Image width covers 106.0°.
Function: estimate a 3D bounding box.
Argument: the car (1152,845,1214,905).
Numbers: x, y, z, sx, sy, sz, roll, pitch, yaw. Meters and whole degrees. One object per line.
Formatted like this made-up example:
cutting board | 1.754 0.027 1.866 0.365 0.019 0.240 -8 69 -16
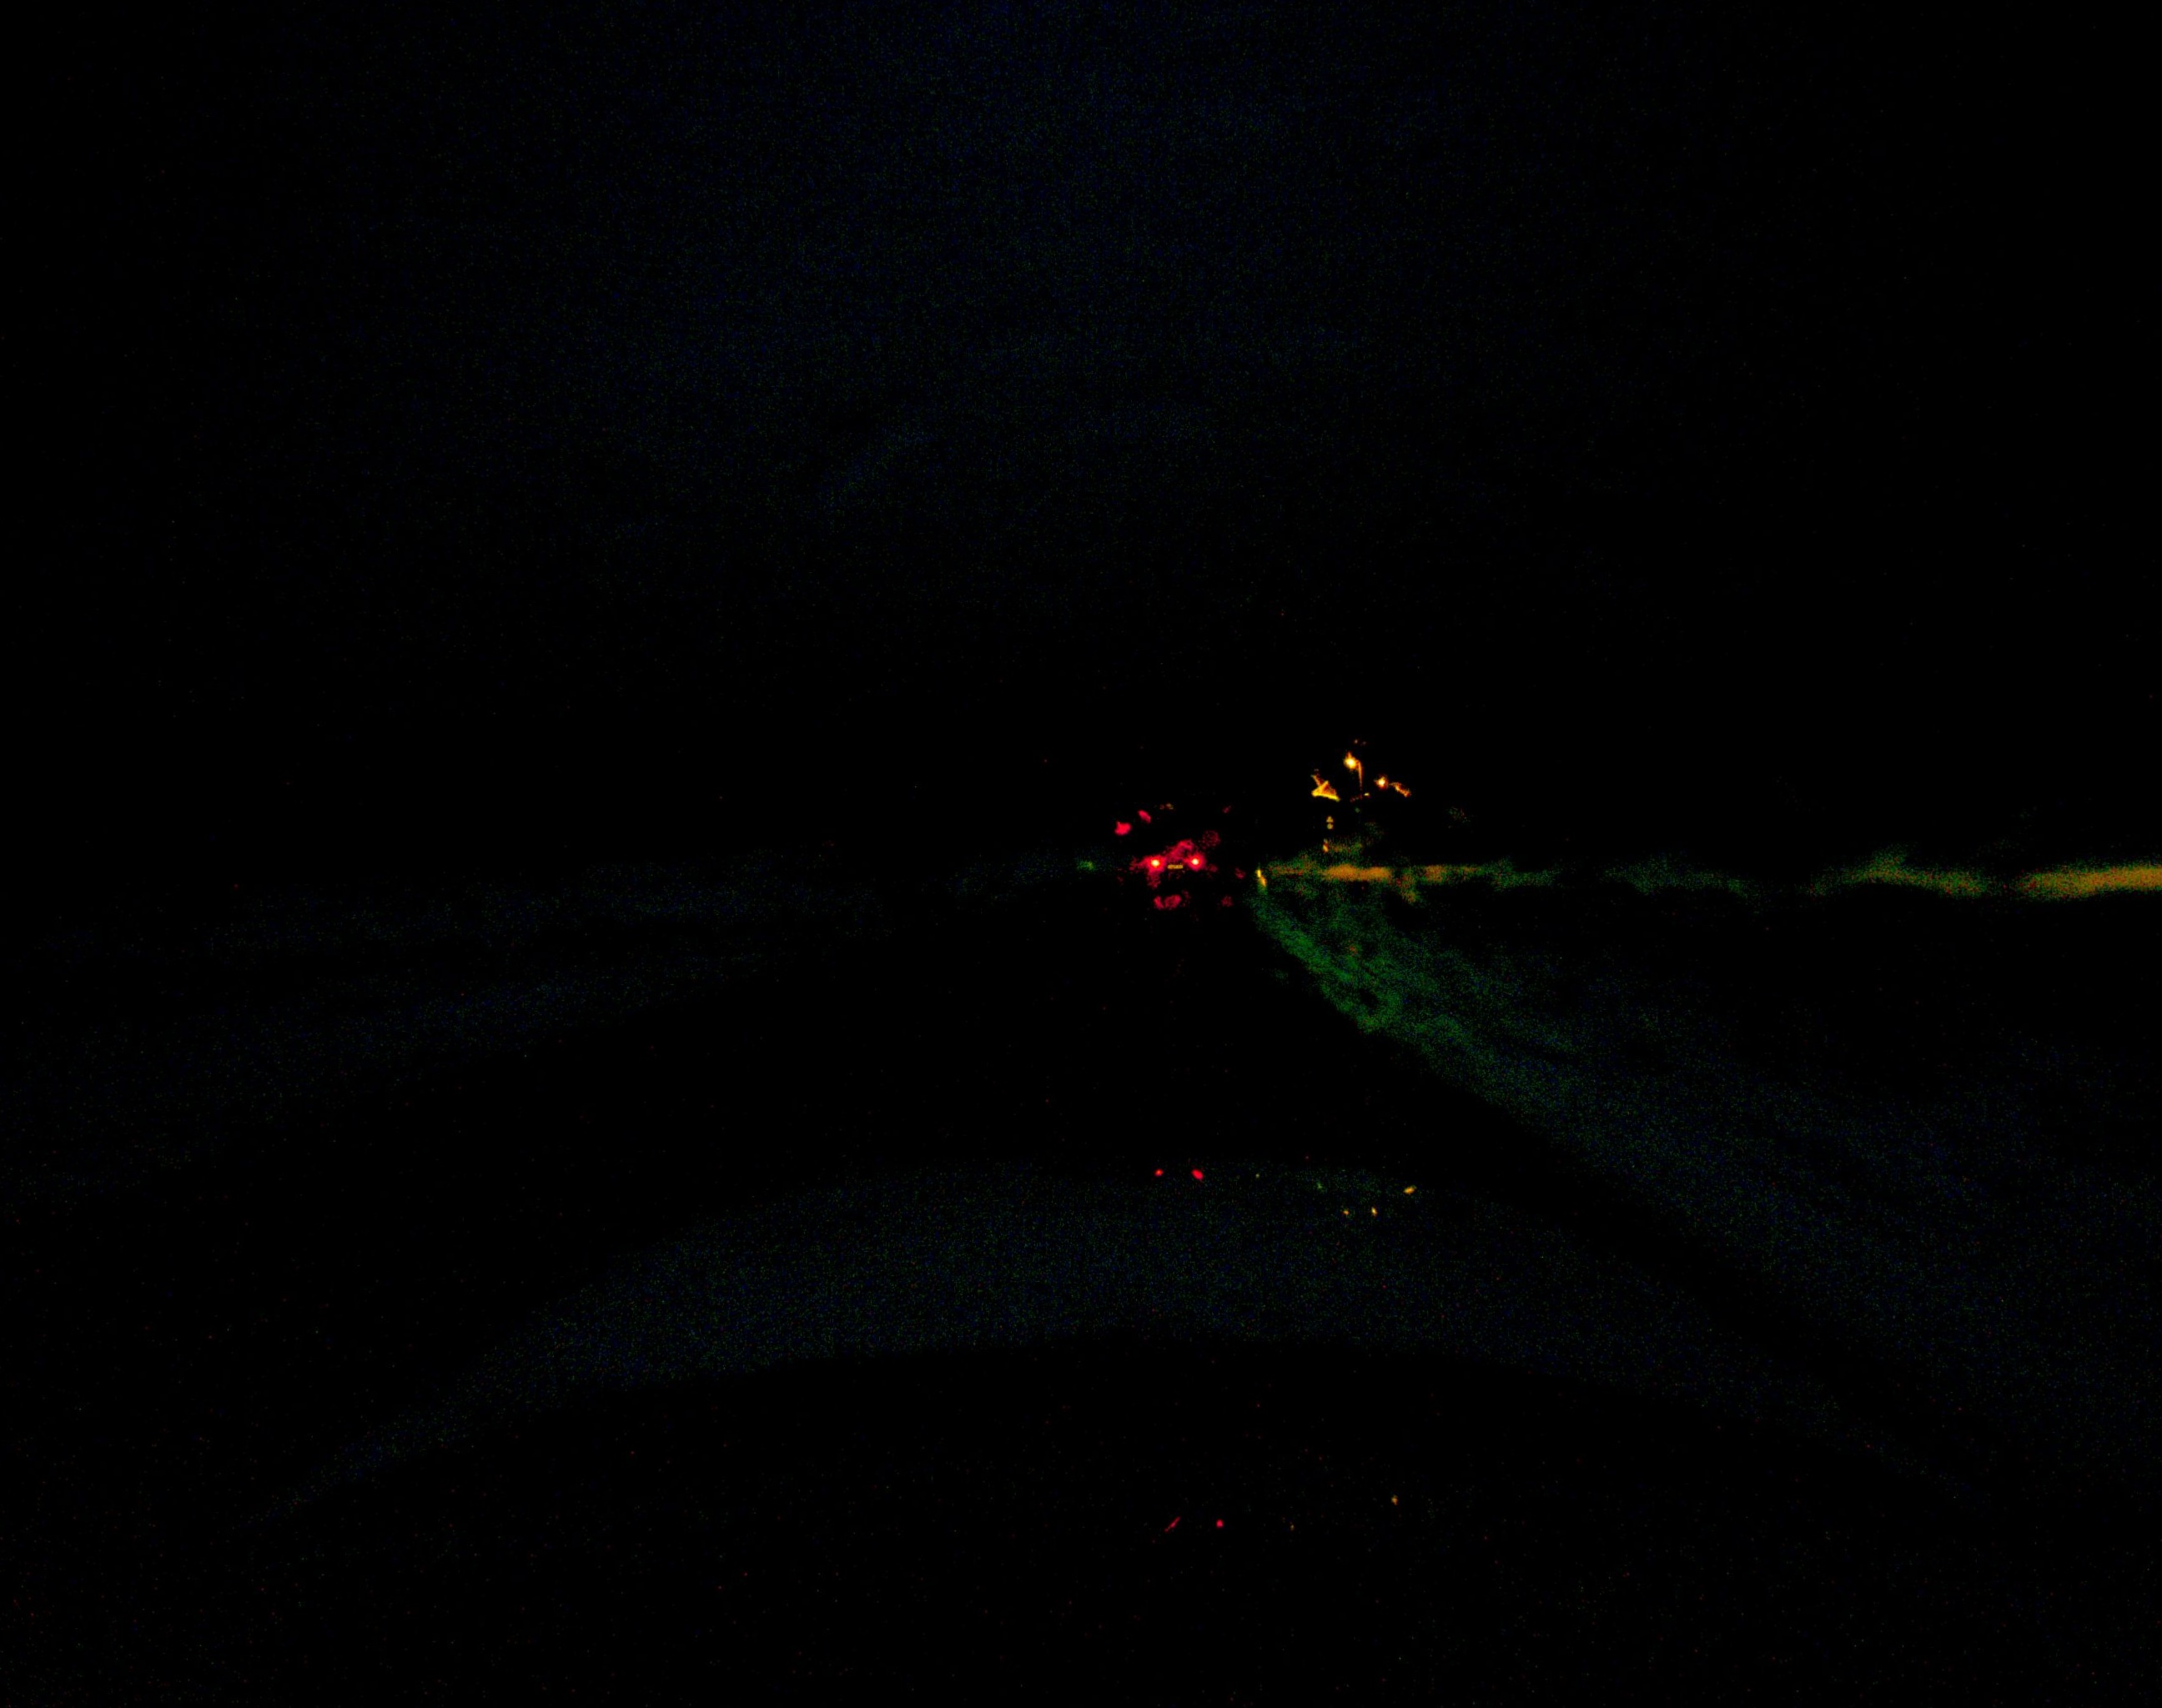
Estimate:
car | 3.410 0.670 27.725 1.814 1.796 3.582 -4 0 4
